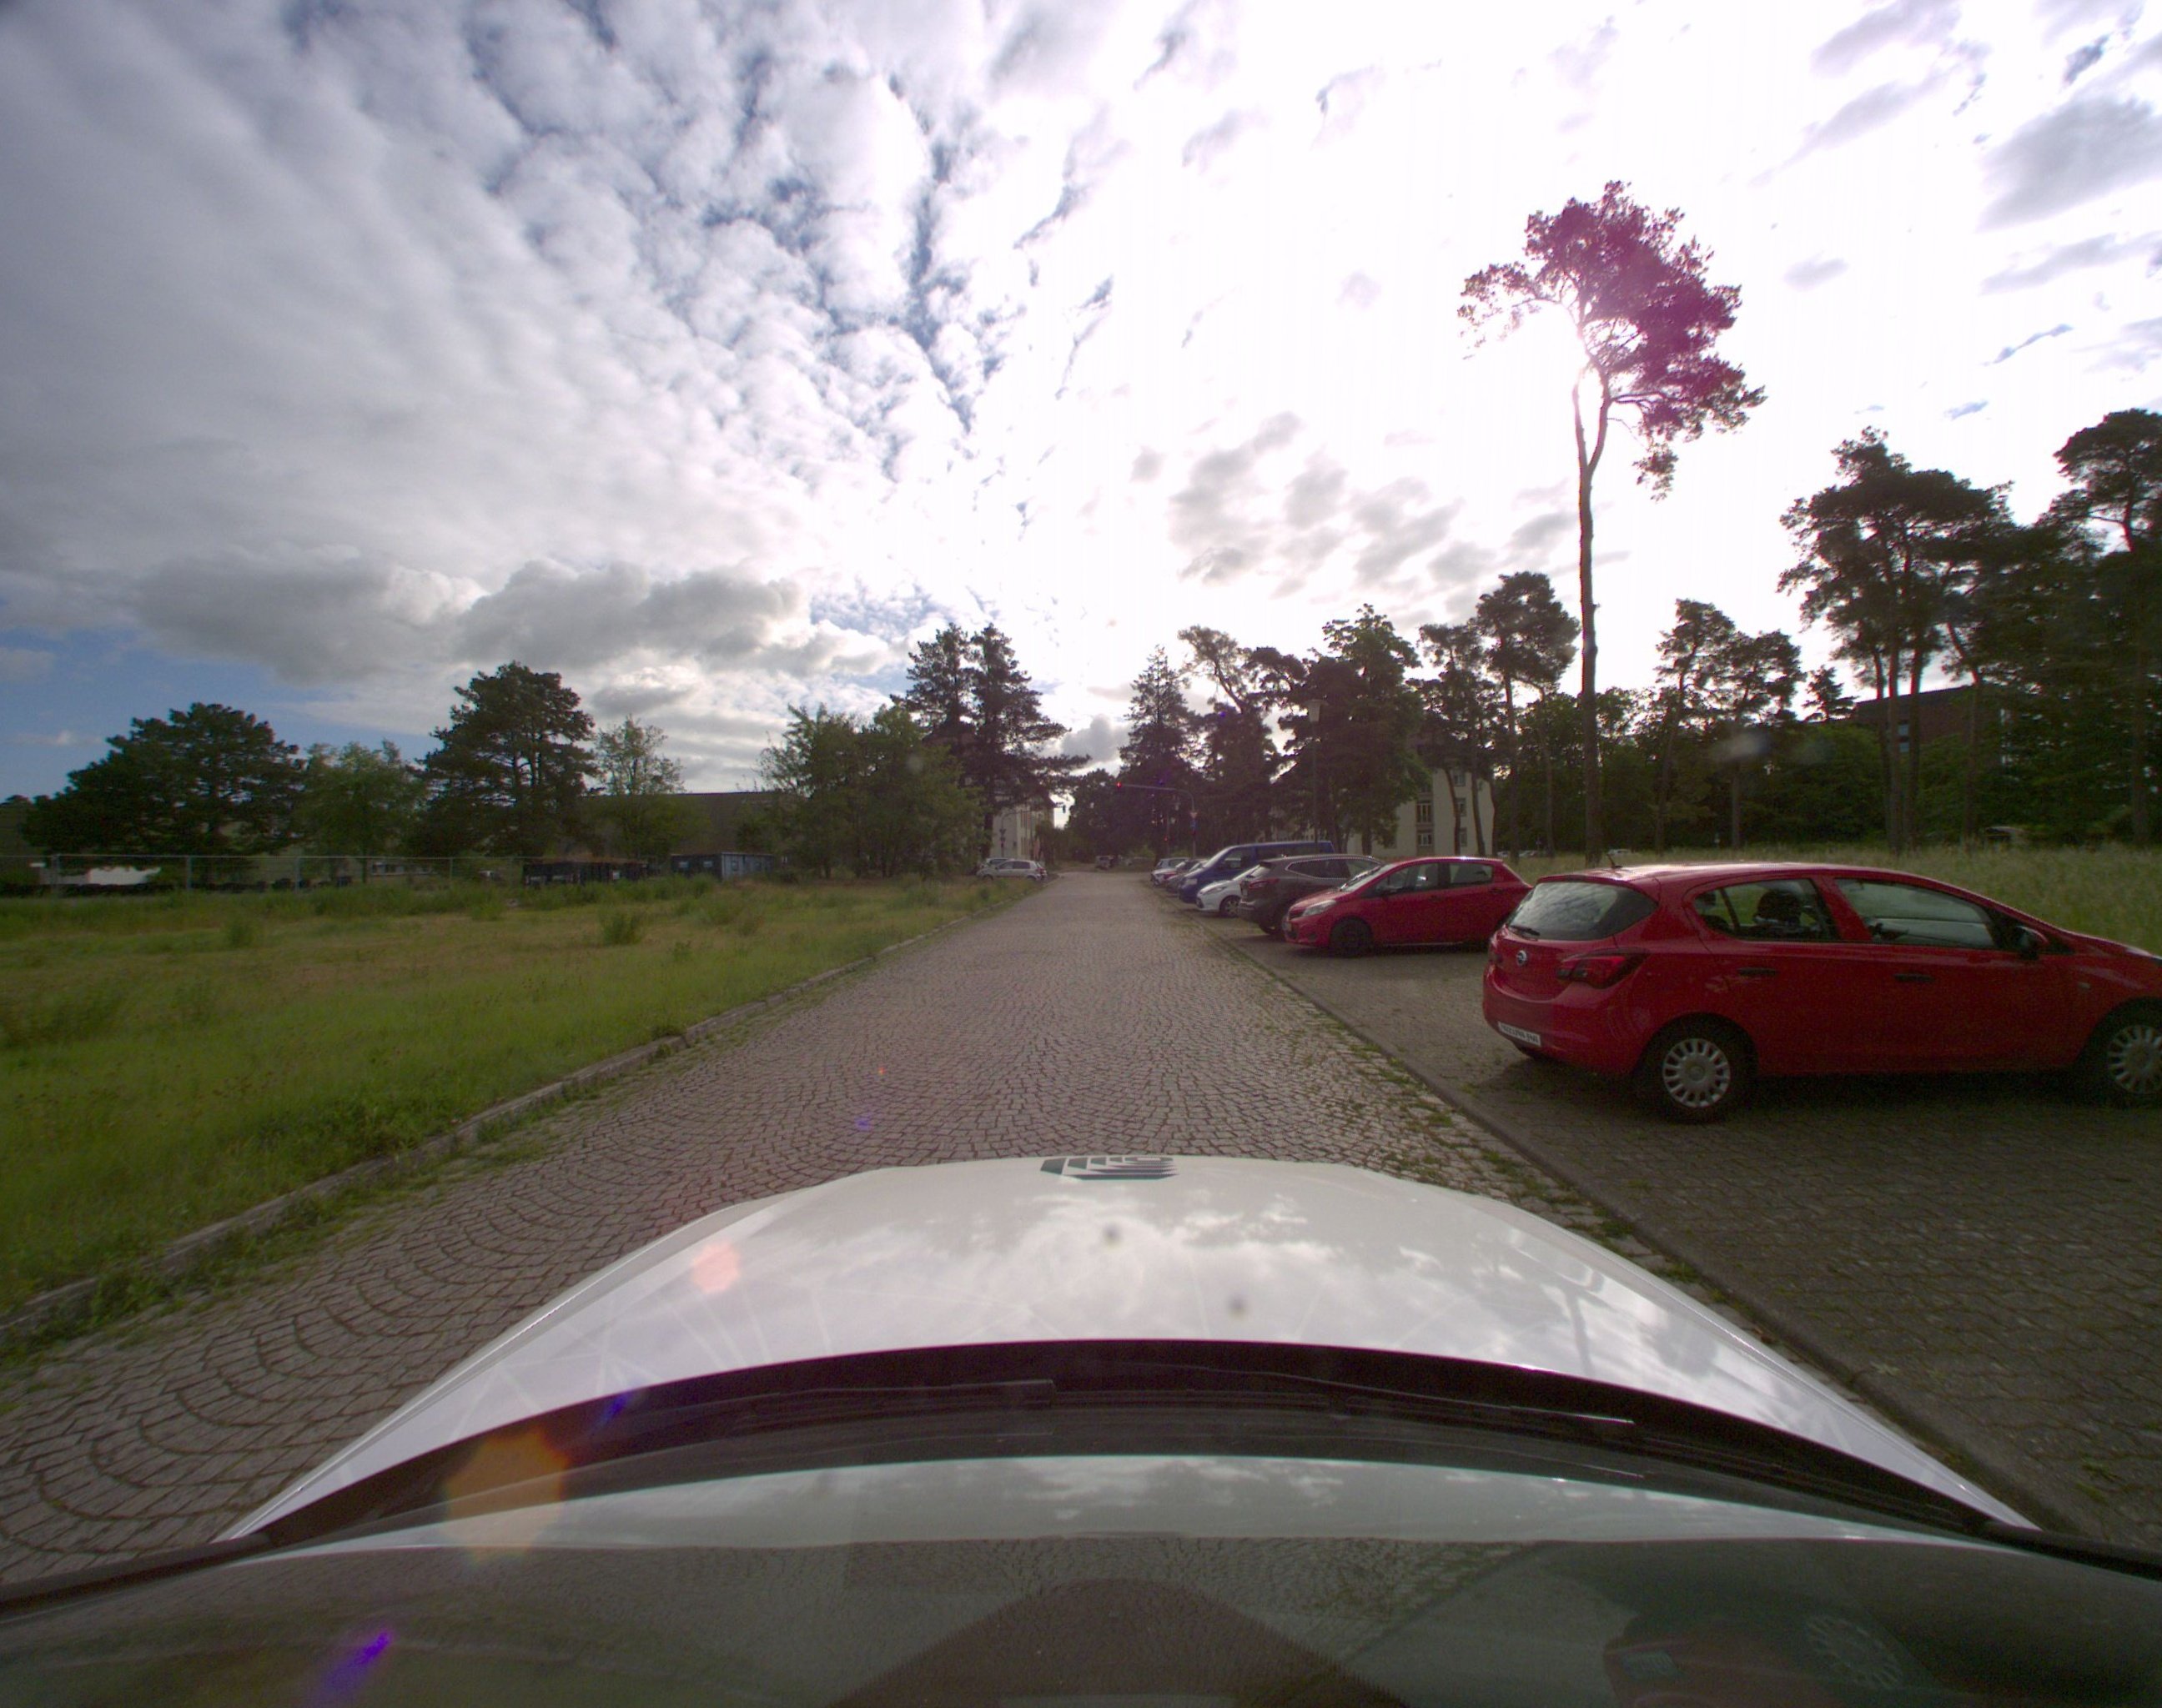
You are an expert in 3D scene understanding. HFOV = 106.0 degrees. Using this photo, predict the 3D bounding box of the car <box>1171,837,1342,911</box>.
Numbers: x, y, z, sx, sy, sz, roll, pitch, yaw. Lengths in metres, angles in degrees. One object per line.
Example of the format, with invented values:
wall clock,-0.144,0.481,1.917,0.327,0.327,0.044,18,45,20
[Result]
car,5.234,0.595,24.737,4.739,1.954,1.931,-2,-1,-1

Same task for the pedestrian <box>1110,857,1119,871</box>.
pedestrian,4.054,1.213,97.861,1.031,1.614,0.756,0,-1,-3

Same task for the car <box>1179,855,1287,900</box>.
car,5.539,0.851,30.009,3.660,1.449,1.523,-2,-1,-1

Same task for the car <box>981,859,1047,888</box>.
car,-4.100,1.173,50.072,3.808,1.572,1.564,-2,-1,1

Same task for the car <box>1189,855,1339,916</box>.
car,4.915,0.836,22.146,3.661,1.449,1.614,-2,-1,-1

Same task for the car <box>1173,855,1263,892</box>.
car,5.992,0.833,35.771,3.660,1.449,1.523,-2,-1,-1

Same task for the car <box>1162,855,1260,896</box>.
car,5.202,0.844,32.797,3.660,1.449,1.523,-2,-1,-1

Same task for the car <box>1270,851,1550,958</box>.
car,5.138,0.764,13.110,3.778,1.460,1.751,-2,-1,1

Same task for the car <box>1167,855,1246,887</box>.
car,6.255,0.845,40.759,3.660,1.449,1.523,-2,-1,-1

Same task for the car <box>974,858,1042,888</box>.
car,-4.217,1.121,47.657,3.811,1.572,1.563,-2,-1,-2

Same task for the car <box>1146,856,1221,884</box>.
car,5.759,0.893,45.880,3.959,1.421,1.618,-2,-1,-3

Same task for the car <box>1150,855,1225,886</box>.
car,5.585,0.872,43.026,3.663,1.421,1.522,-2,-1,-3

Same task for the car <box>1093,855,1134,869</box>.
car,4.564,1.115,115.429,5.442,2.014,2.263,0,-1,-8

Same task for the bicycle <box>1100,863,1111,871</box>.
bicycle,2.820,1.494,93.468,0.623,0.945,1.649,0,-1,-26

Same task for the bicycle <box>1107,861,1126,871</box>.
bicycle,4.245,1.414,97.512,2.132,1.215,0.621,0,-1,-3

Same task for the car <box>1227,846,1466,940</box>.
car,5.018,0.725,15.765,4.017,1.552,1.750,-2,-1,-1

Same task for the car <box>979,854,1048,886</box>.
car,-4.359,1.037,53.068,4.247,1.840,1.744,-2,-1,1

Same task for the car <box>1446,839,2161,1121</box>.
car,4.797,0.719,5.523,3.812,1.460,1.779,-2,-1,1

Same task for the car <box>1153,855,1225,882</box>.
car,6.409,0.880,48.519,3.959,1.421,1.618,-2,-1,-3

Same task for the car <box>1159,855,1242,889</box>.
car,5.598,0.837,38.486,3.660,1.449,1.523,-2,-1,-1
